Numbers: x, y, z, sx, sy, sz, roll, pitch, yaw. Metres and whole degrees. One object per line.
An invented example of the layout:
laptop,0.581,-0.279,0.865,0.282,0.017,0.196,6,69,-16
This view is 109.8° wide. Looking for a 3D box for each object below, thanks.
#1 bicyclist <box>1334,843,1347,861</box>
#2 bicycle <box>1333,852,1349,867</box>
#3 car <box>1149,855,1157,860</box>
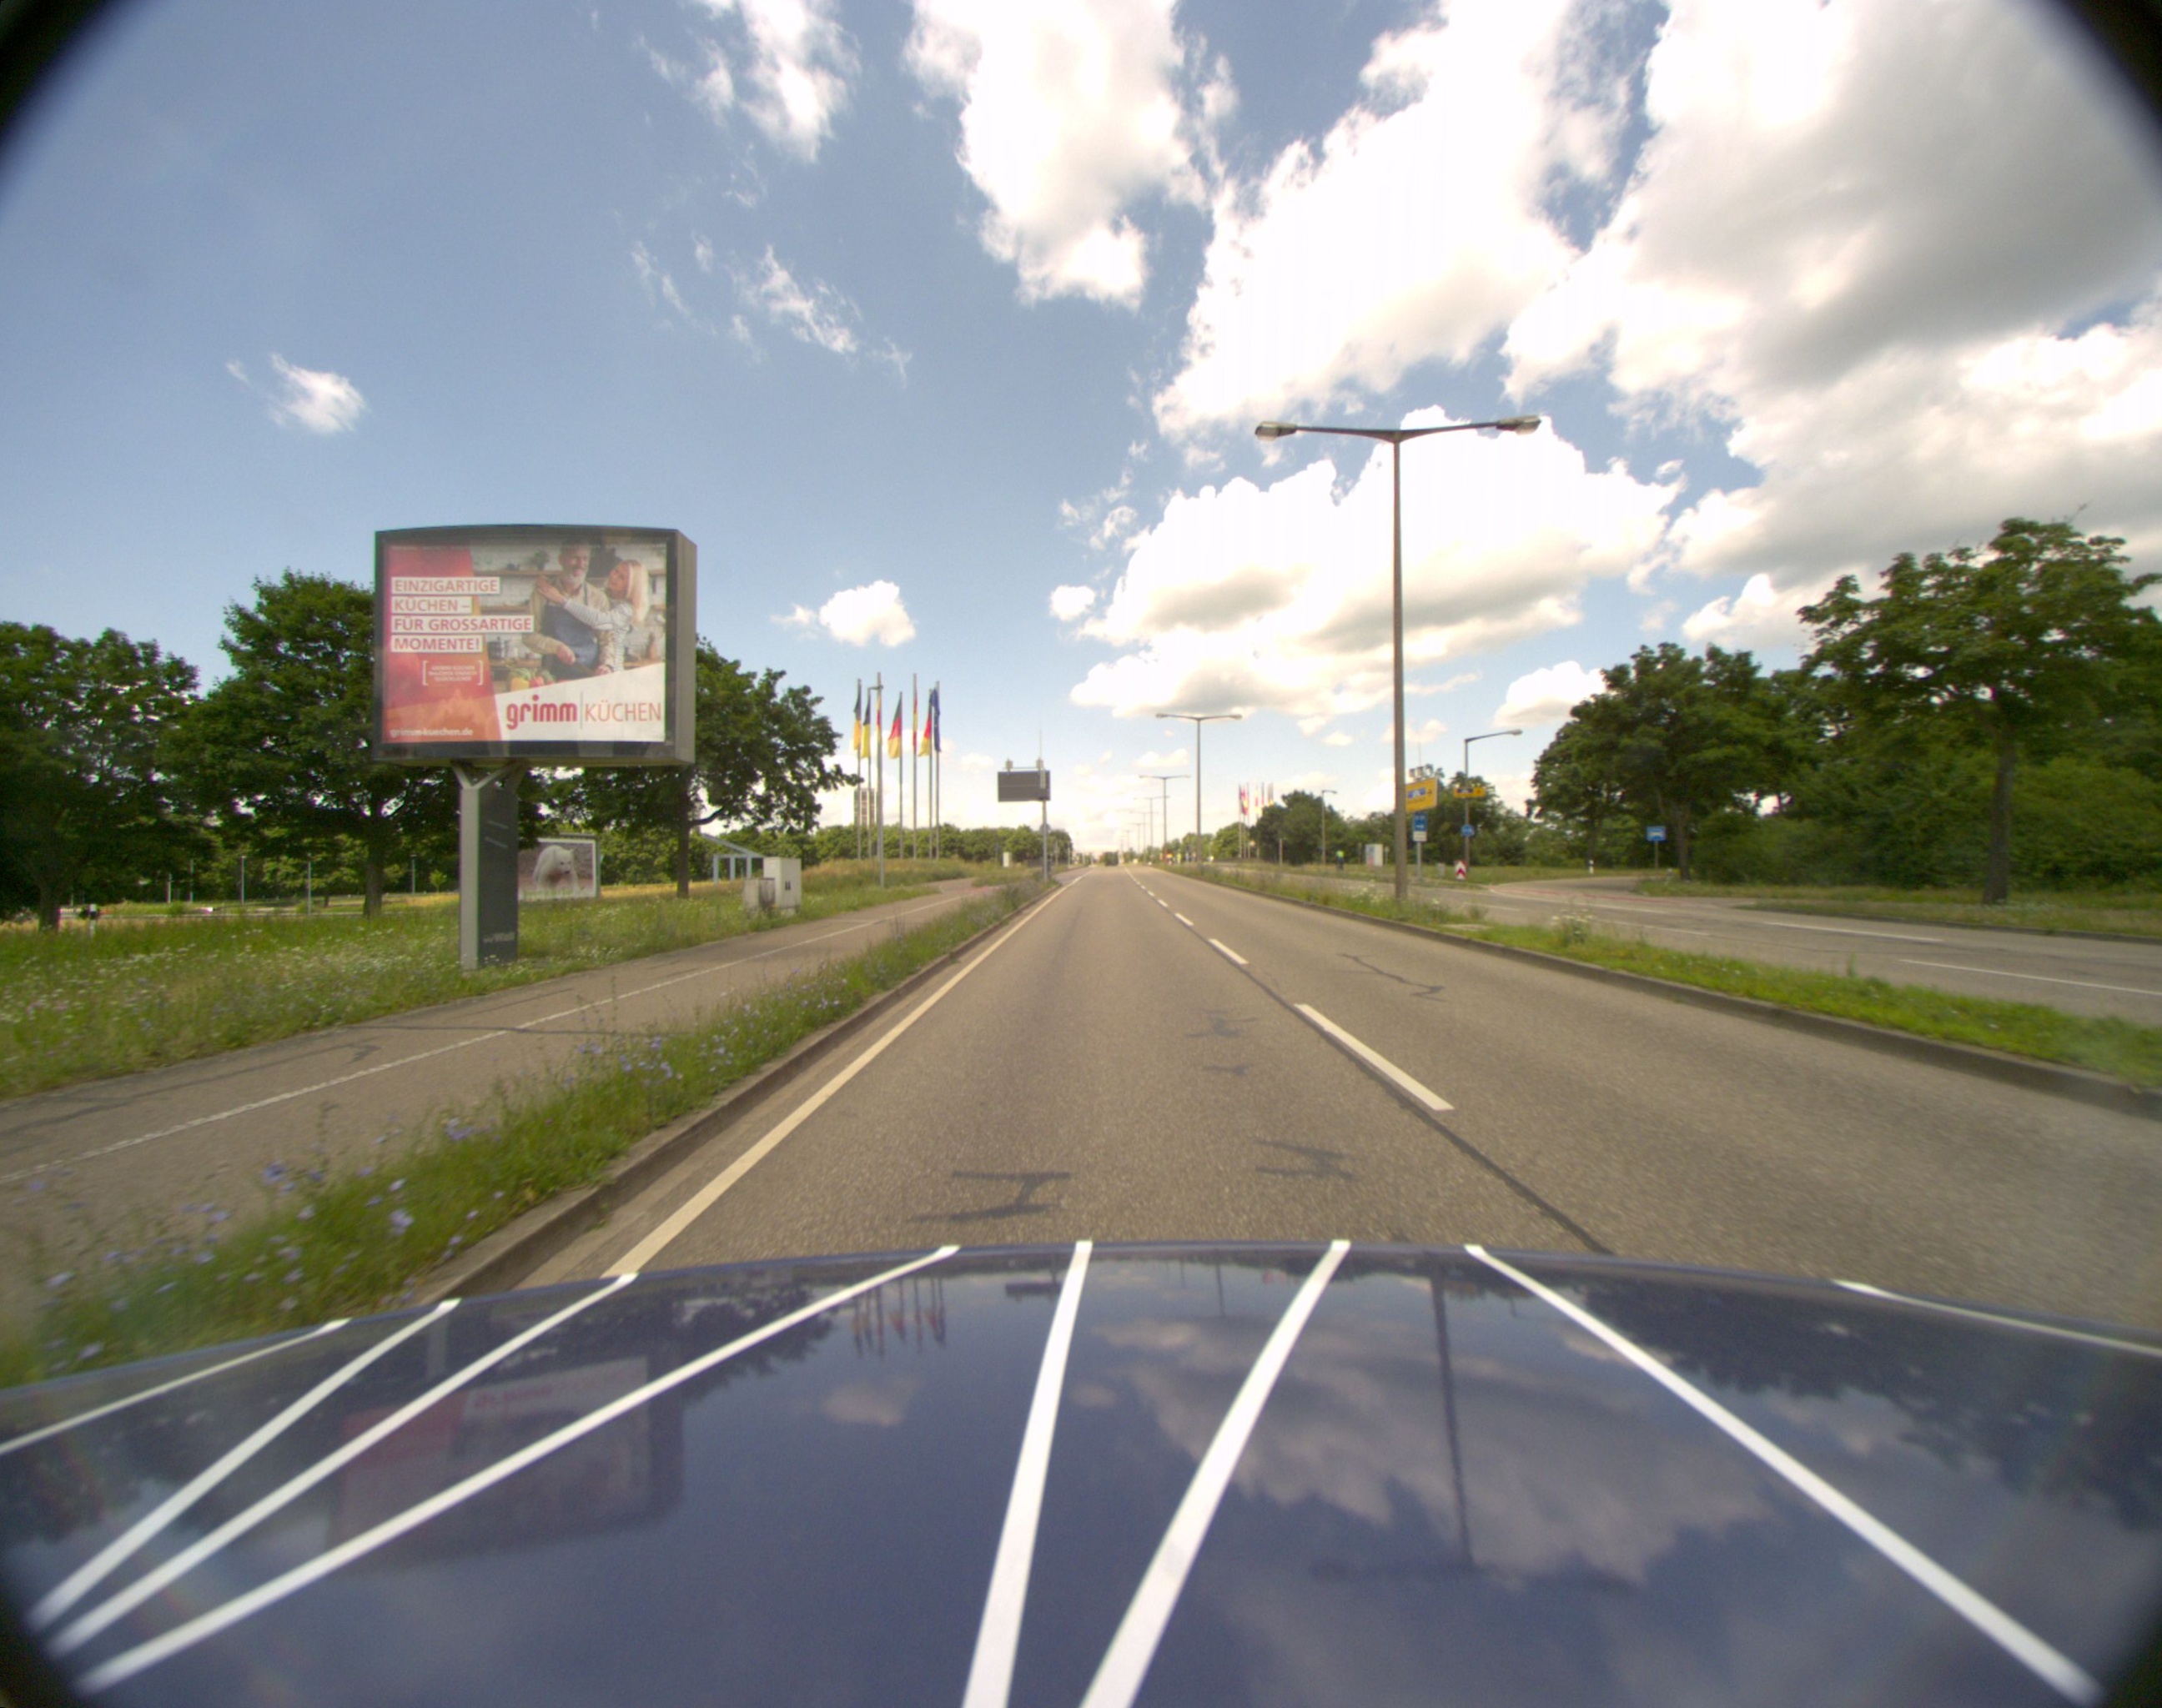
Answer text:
bicyclist,18.962,-0.171,55.518,0.522,1.264,1.107,-2,-1,-1
bicycle,18.988,0.421,55.457,0.433,1.062,1.908,-2,-1,-1
car,24.660,1.251,259.273,2.094,1.616,4.550,6,-1,-1
